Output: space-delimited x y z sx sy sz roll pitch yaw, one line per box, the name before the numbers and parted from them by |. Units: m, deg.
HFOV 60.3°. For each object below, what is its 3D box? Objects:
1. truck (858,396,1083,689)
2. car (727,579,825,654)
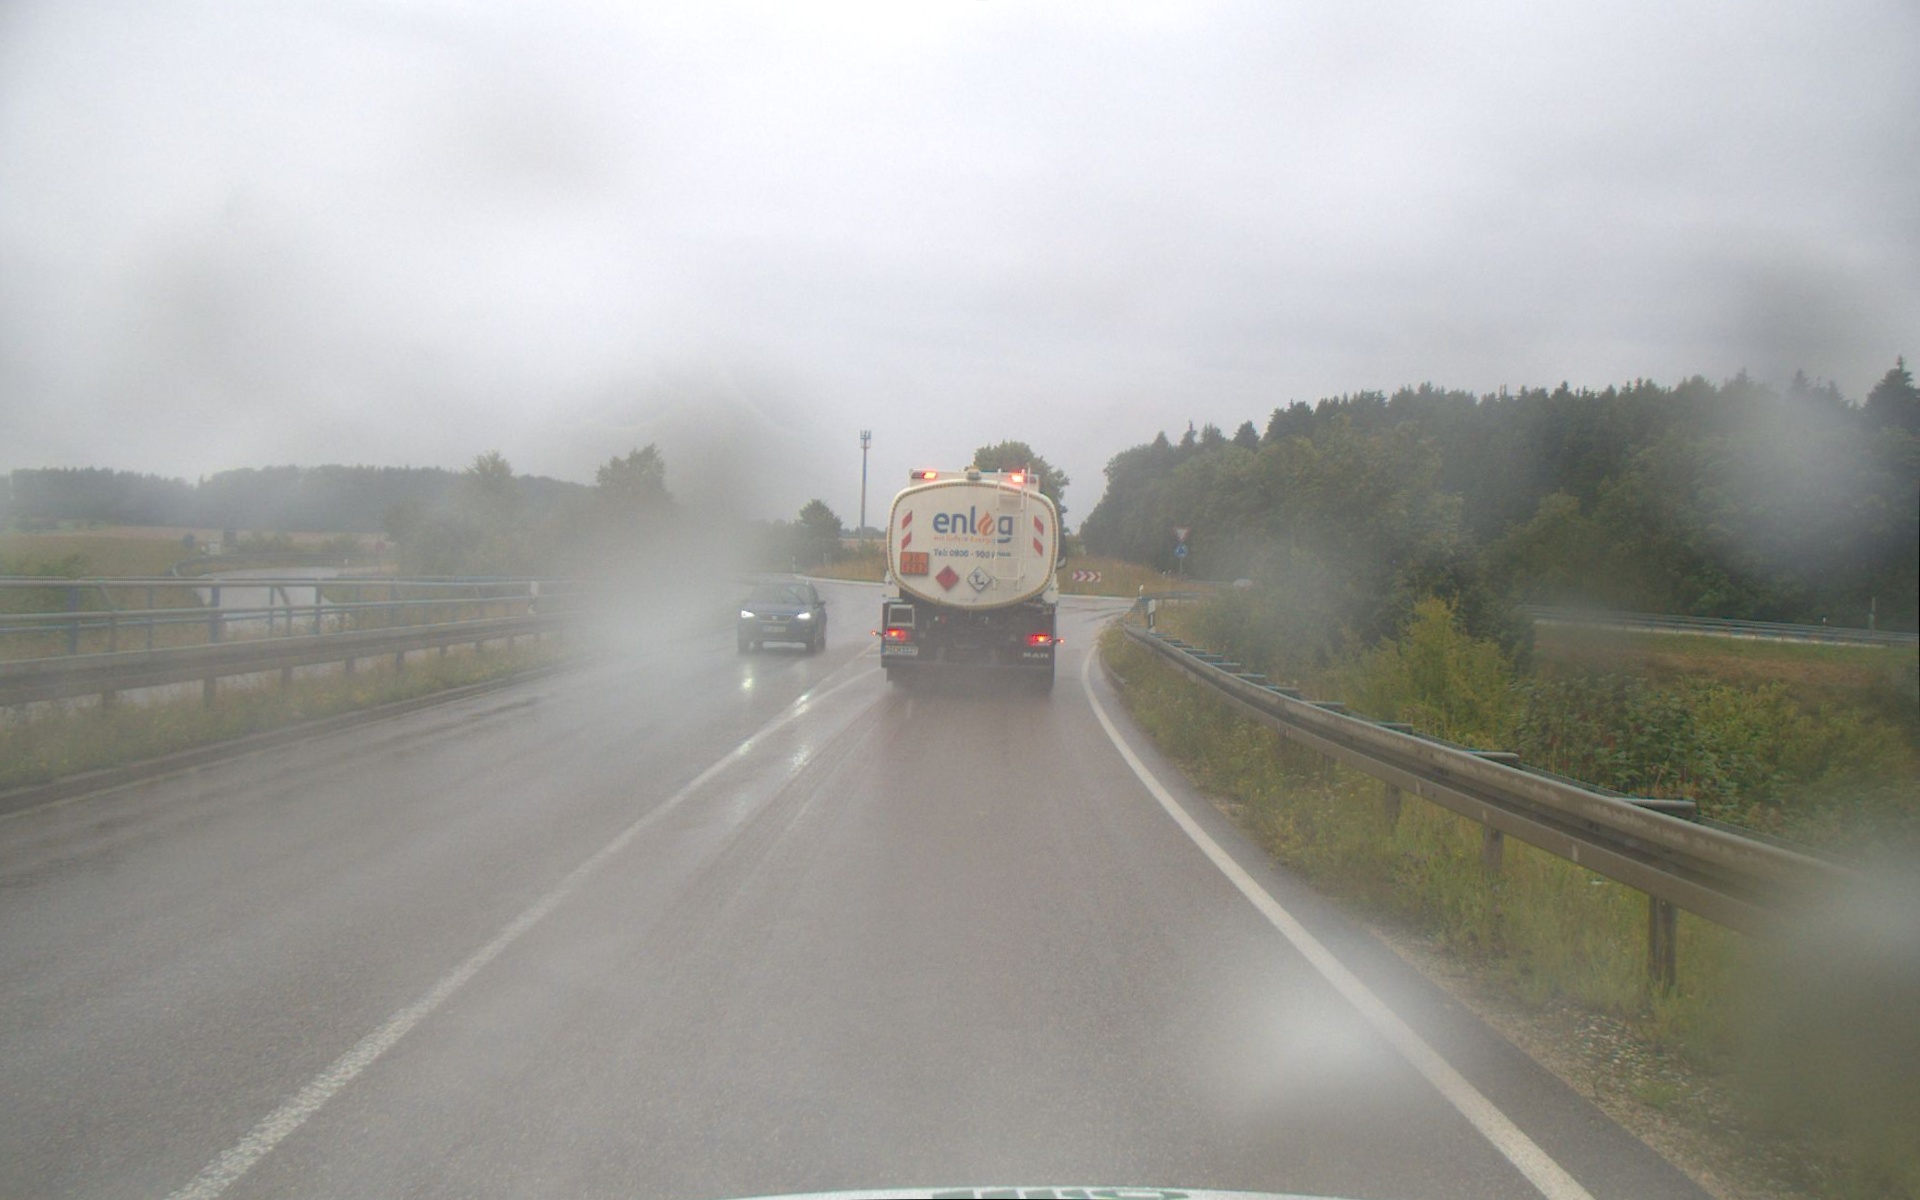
truck | 0.292 -0.868 26.789 2.976 3.918 8.825 1 1 2
car | -4.050 0.322 37.035 1.744 1.552 4.168 1 0 -1
